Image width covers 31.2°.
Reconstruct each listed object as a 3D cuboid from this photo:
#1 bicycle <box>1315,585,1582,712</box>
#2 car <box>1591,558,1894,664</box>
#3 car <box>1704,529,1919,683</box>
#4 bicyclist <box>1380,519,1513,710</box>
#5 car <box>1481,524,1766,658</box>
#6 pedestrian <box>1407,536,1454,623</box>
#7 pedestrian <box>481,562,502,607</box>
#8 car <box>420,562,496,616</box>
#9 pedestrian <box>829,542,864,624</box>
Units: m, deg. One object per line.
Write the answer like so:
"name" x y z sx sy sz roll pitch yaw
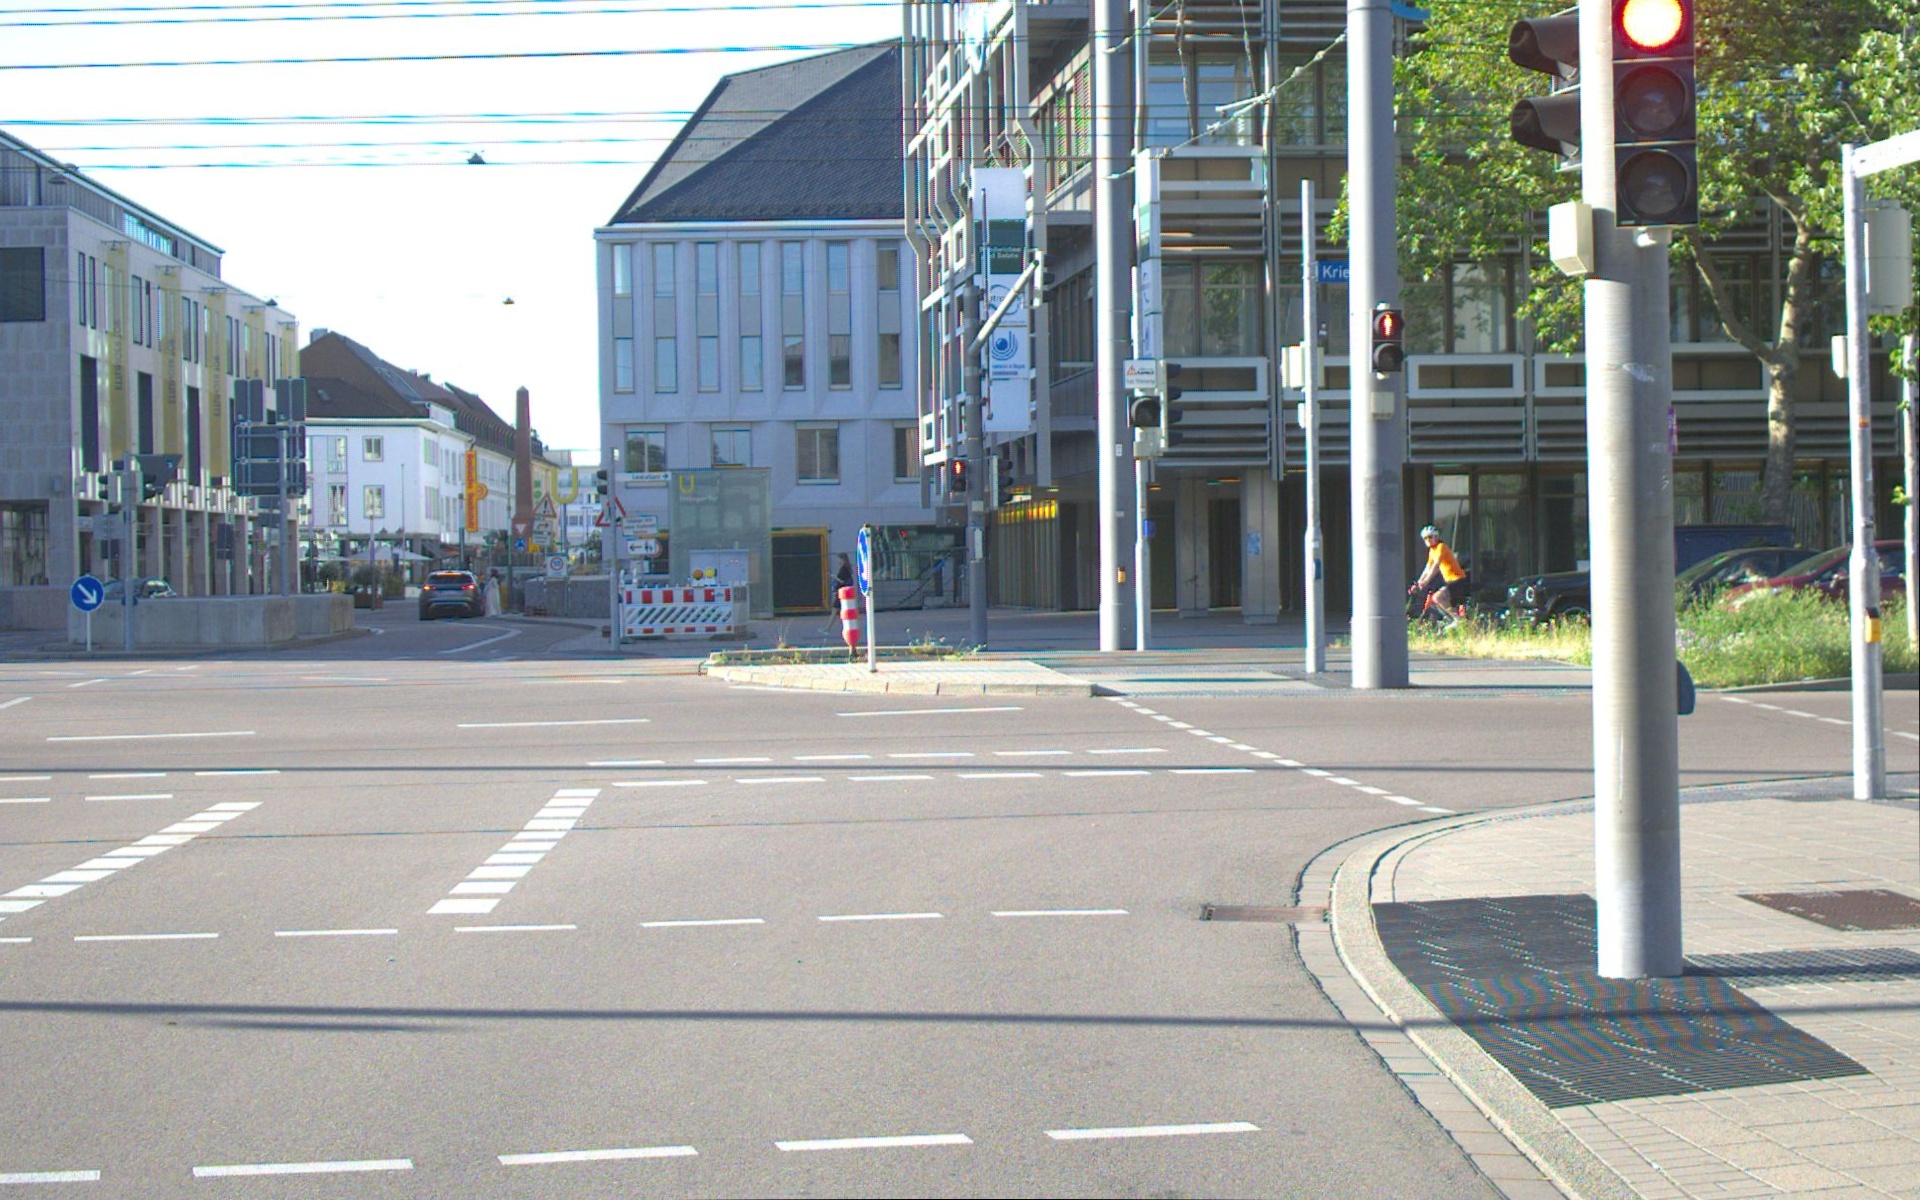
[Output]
"bicycle" 6.694 0.647 47.148 3.490 1.653 0.932 -1 1 -9
"car" 11.495 0.155 50.662 3.986 1.503 1.868 0 1 -3
"car" 12.289 0.085 46.411 3.986 2.007 2.000 1 0 -3
"bicyclist" 6.663 0.187 47.141 1.567 2.571 0.932 -1 1 -9
"car" 10.346 -0.146 53.779 3.986 2.007 2.000 1 0 -3
"pedestrian" 9.050 -0.397 66.121 0.729 1.652 0.651 -1 1 -7
"pedestrian" -14.775 -0.480 108.430 0.609 1.406 0.570 -1 1 -6
"car" -15.808 -0.355 108.423 2.199 1.601 4.327 -1 1 -6
"pedestrian" -2.304 -0.353 69.636 0.663 1.652 0.755 -1 1 -3
